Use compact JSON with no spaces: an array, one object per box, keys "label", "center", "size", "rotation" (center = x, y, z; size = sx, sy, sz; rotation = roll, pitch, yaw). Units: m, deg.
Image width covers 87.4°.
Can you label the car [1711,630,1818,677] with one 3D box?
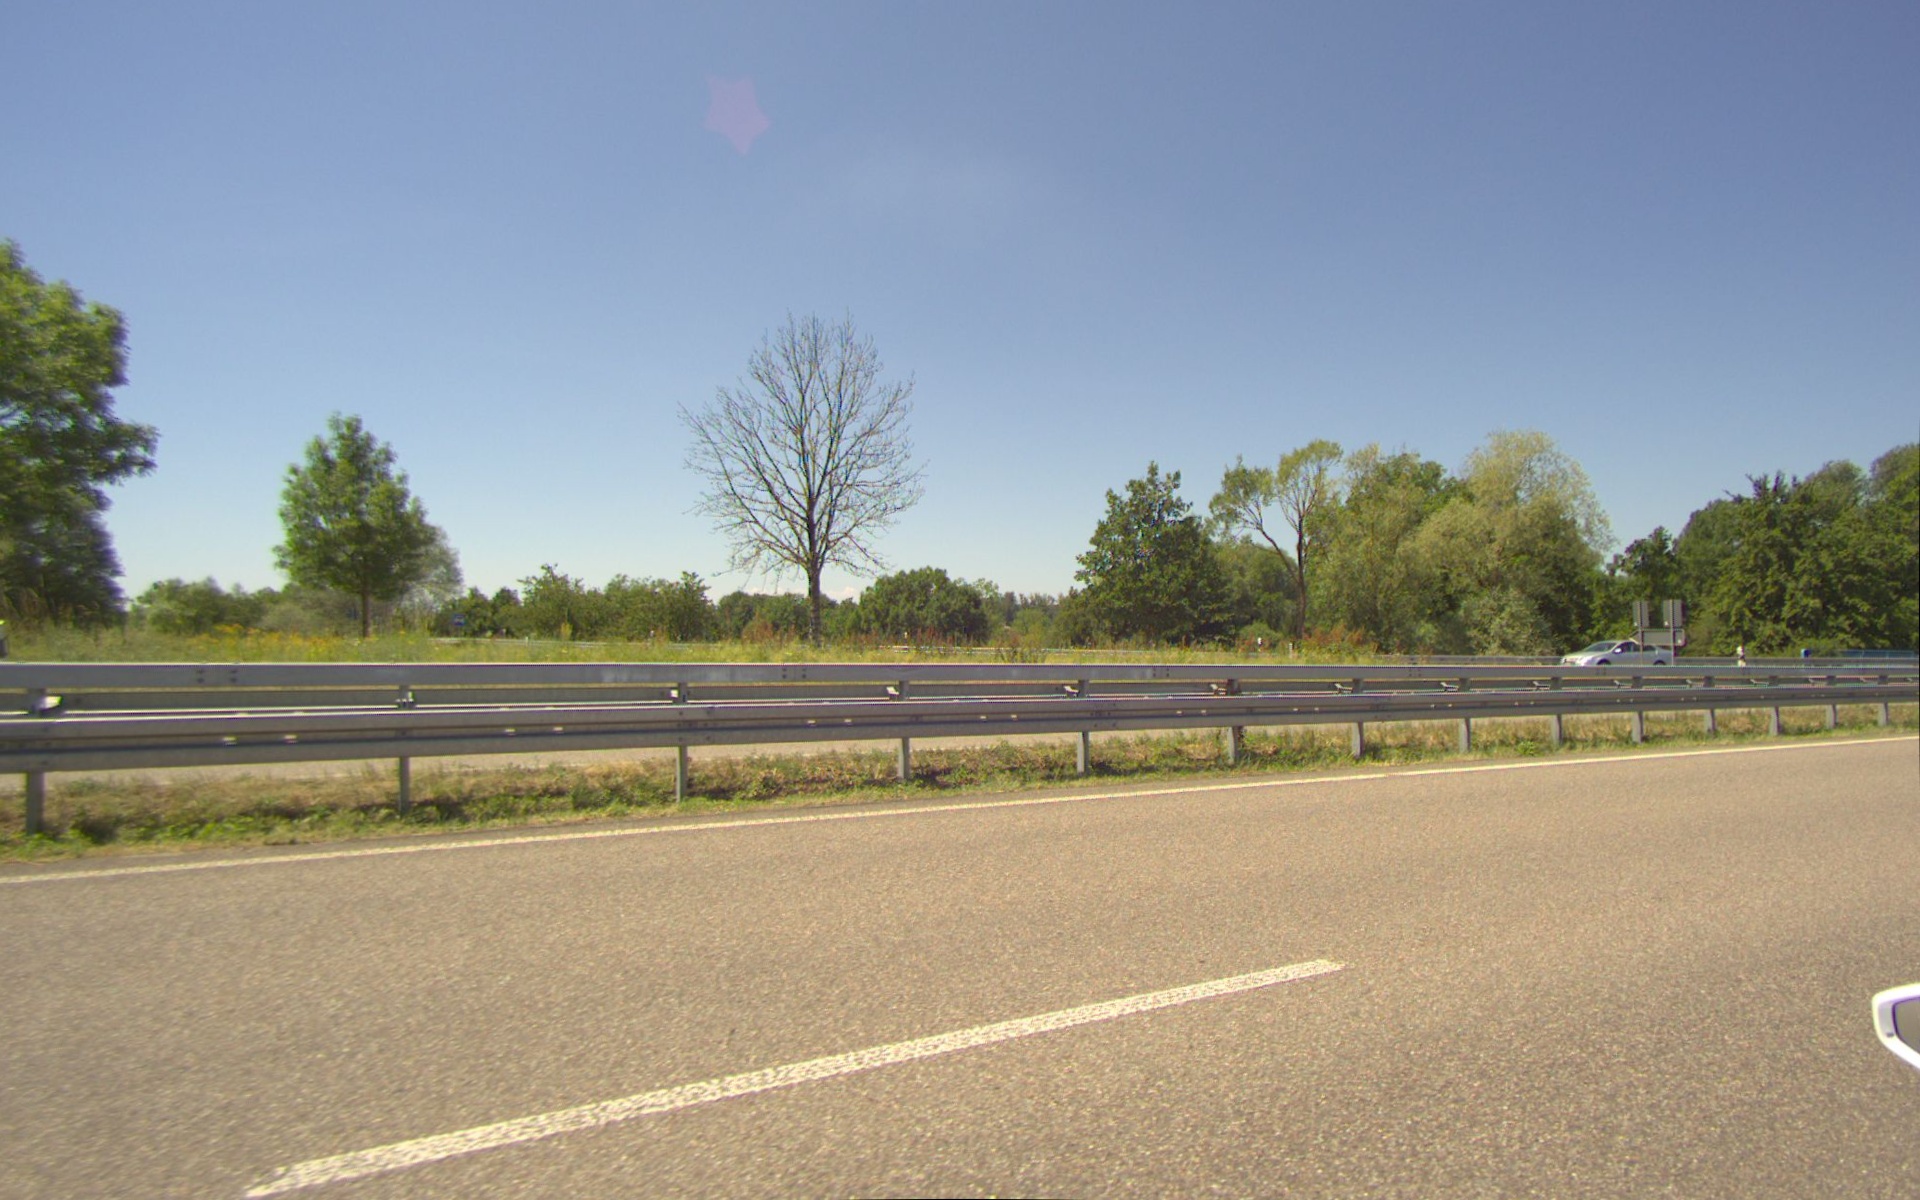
[{"label":"car","center":[29.214,1.944,36.445],"size":[3.958,1.509,1.906],"rotation":[3,-1,-34]}]

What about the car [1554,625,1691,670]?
[{"label":"car","center":[27.123,1.943,41.171],"size":[4.855,1.666,1.727],"rotation":[2,-1,-11]}]
